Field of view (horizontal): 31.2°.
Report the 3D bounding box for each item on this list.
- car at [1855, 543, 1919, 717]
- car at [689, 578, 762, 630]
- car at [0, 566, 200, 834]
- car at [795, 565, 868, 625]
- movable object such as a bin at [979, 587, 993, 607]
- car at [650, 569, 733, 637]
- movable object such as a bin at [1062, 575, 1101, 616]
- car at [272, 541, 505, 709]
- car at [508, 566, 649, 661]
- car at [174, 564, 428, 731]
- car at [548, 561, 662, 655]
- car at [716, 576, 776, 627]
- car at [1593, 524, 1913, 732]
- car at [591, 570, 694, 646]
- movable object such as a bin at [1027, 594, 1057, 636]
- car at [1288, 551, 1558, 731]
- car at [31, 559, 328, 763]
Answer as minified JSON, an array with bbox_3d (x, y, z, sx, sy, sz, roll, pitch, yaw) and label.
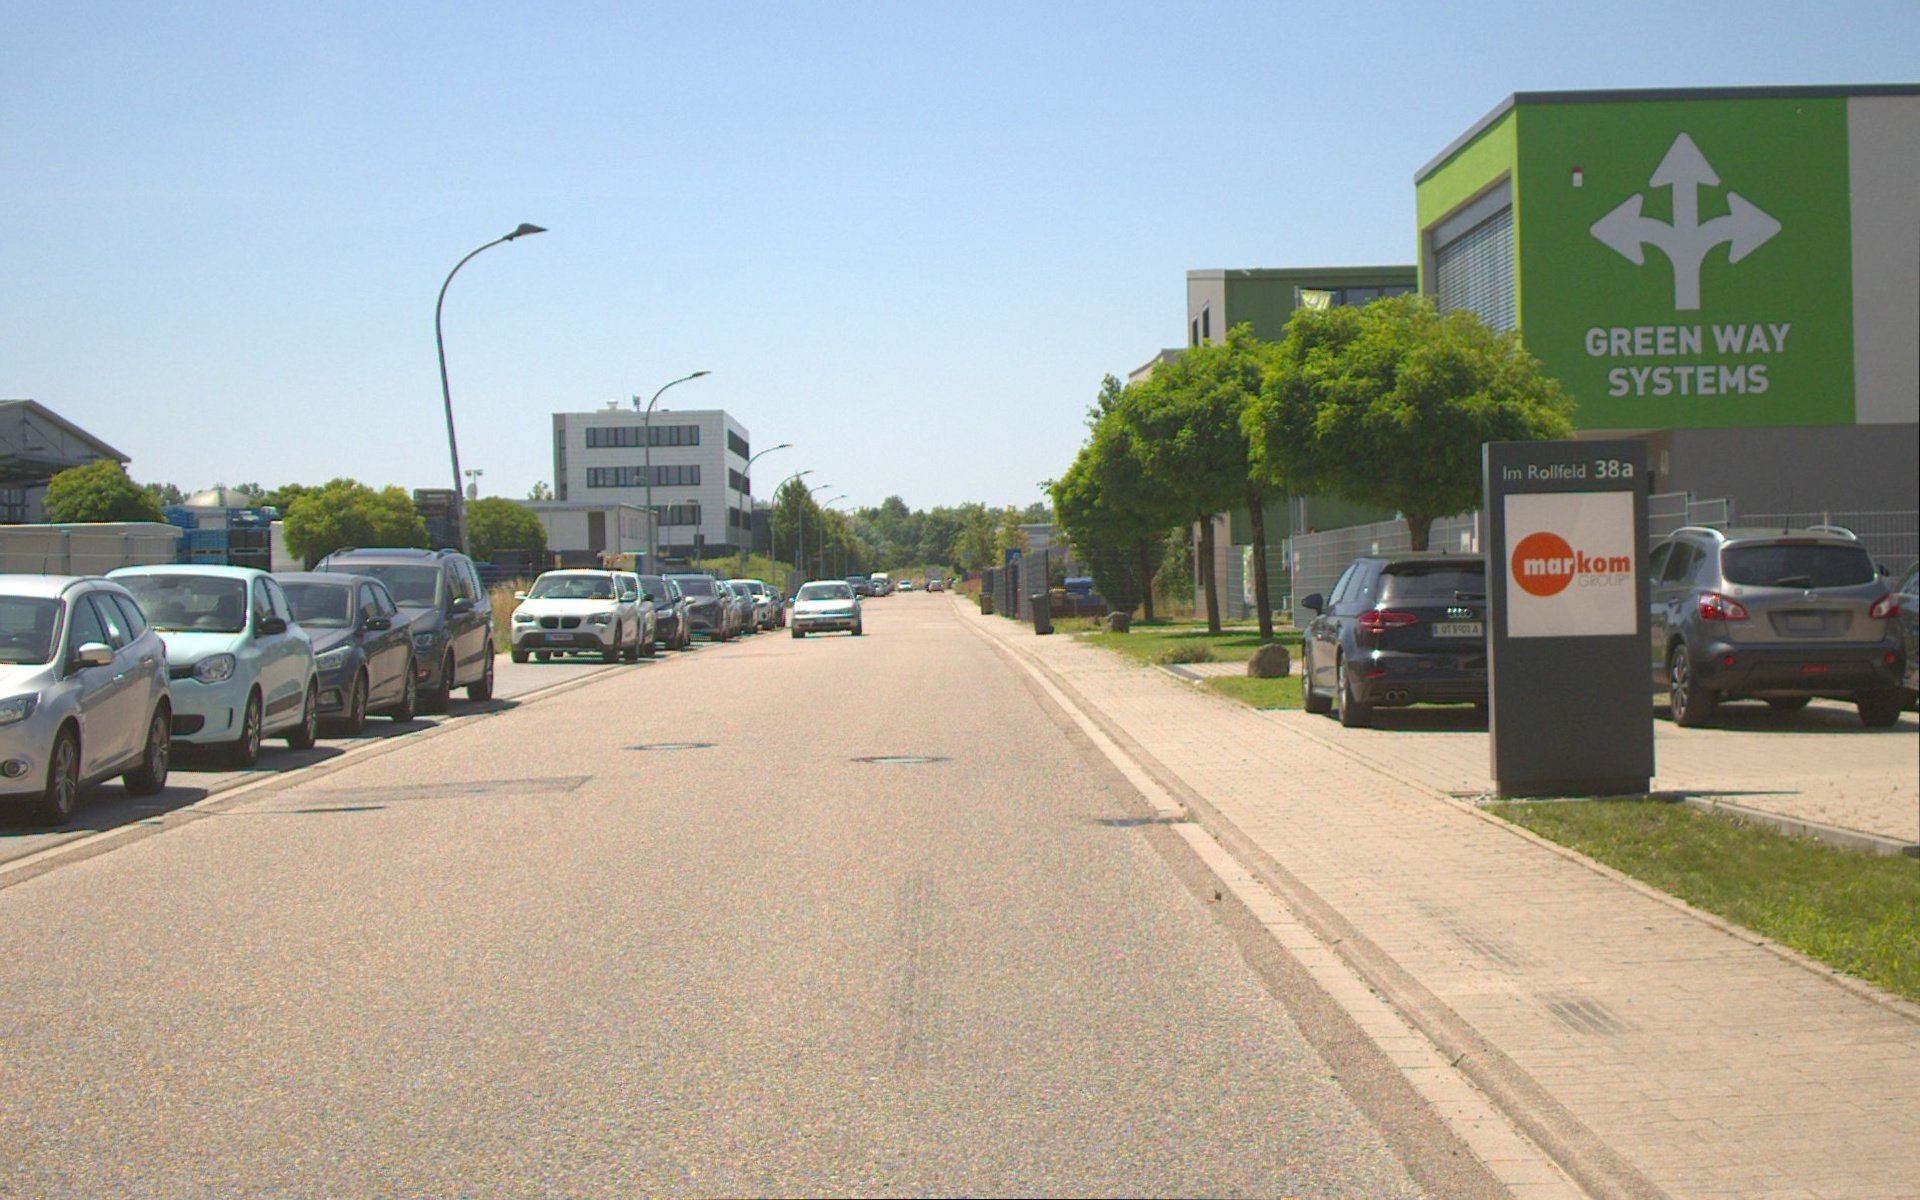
[{"bbox_3d":[8.823,0.249,28.491,1.723,1.444,4.022,0,1,-1],"label":"car"},{"bbox_3d":[-6.814,0.101,100.271,1.857,1.476,4.229,0,0,-1],"label":"car"},{"bbox_3d":[-6.193,0.554,22.069,1.703,1.531,4.572,0,1,-1],"label":"car"},{"bbox_3d":[-3.292,-0.148,88.825,1.704,1.406,4.784,-3,1,-1],"label":"car"},{"bbox_3d":[1.253,-0.157,167.008,0.552,0.925,0.522,-5,1,4],"label":"movable object such as a bin"},{"bbox_3d":[-6.526,0.063,83.895,1.790,1.601,4.463,0,0,-1],"label":"car"},{"bbox_3d":[4.431,-0.155,125.294,1.334,1.454,0.949,-1,0,-1],"label":"movable object such as a bin"},{"bbox_3d":[-6.177,0.237,37.616,1.802,1.714,4.622,0,1,0],"label":"car"},{"bbox_3d":[-6.364,0.207,57.792,1.787,1.537,4.364,0,0,1],"label":"car"},{"bbox_3d":[-6.219,0.406,32.837,1.634,1.495,3.971,0,1,0],"label":"car"},{"bbox_3d":[-6.491,0.132,63.118,1.787,1.651,3.769,0,0,-1],"label":"car"},{"bbox_3d":[-6.792,0.035,109.394,1.769,1.587,4.360,0,0,-2],"label":"car"},{"bbox_3d":[6.570,0.201,28.890,1.723,1.627,4.022,0,1,-1],"label":"car"},{"bbox_3d":[-6.483,0.150,70.542,1.763,1.512,4.380,0,0,-1],"label":"car"},{"bbox_3d":[1.879,0.337,78.656,0.552,0.925,0.521,-5,0,10],"label":"movable object such as a bin"},{"bbox_3d":[3.863,0.302,29.299,1.692,1.423,4.246,0,1,-1],"label":"car"},{"bbox_3d":[-6.223,0.440,27.757,1.634,1.531,3.658,0,1,-1],"label":"car"}]
